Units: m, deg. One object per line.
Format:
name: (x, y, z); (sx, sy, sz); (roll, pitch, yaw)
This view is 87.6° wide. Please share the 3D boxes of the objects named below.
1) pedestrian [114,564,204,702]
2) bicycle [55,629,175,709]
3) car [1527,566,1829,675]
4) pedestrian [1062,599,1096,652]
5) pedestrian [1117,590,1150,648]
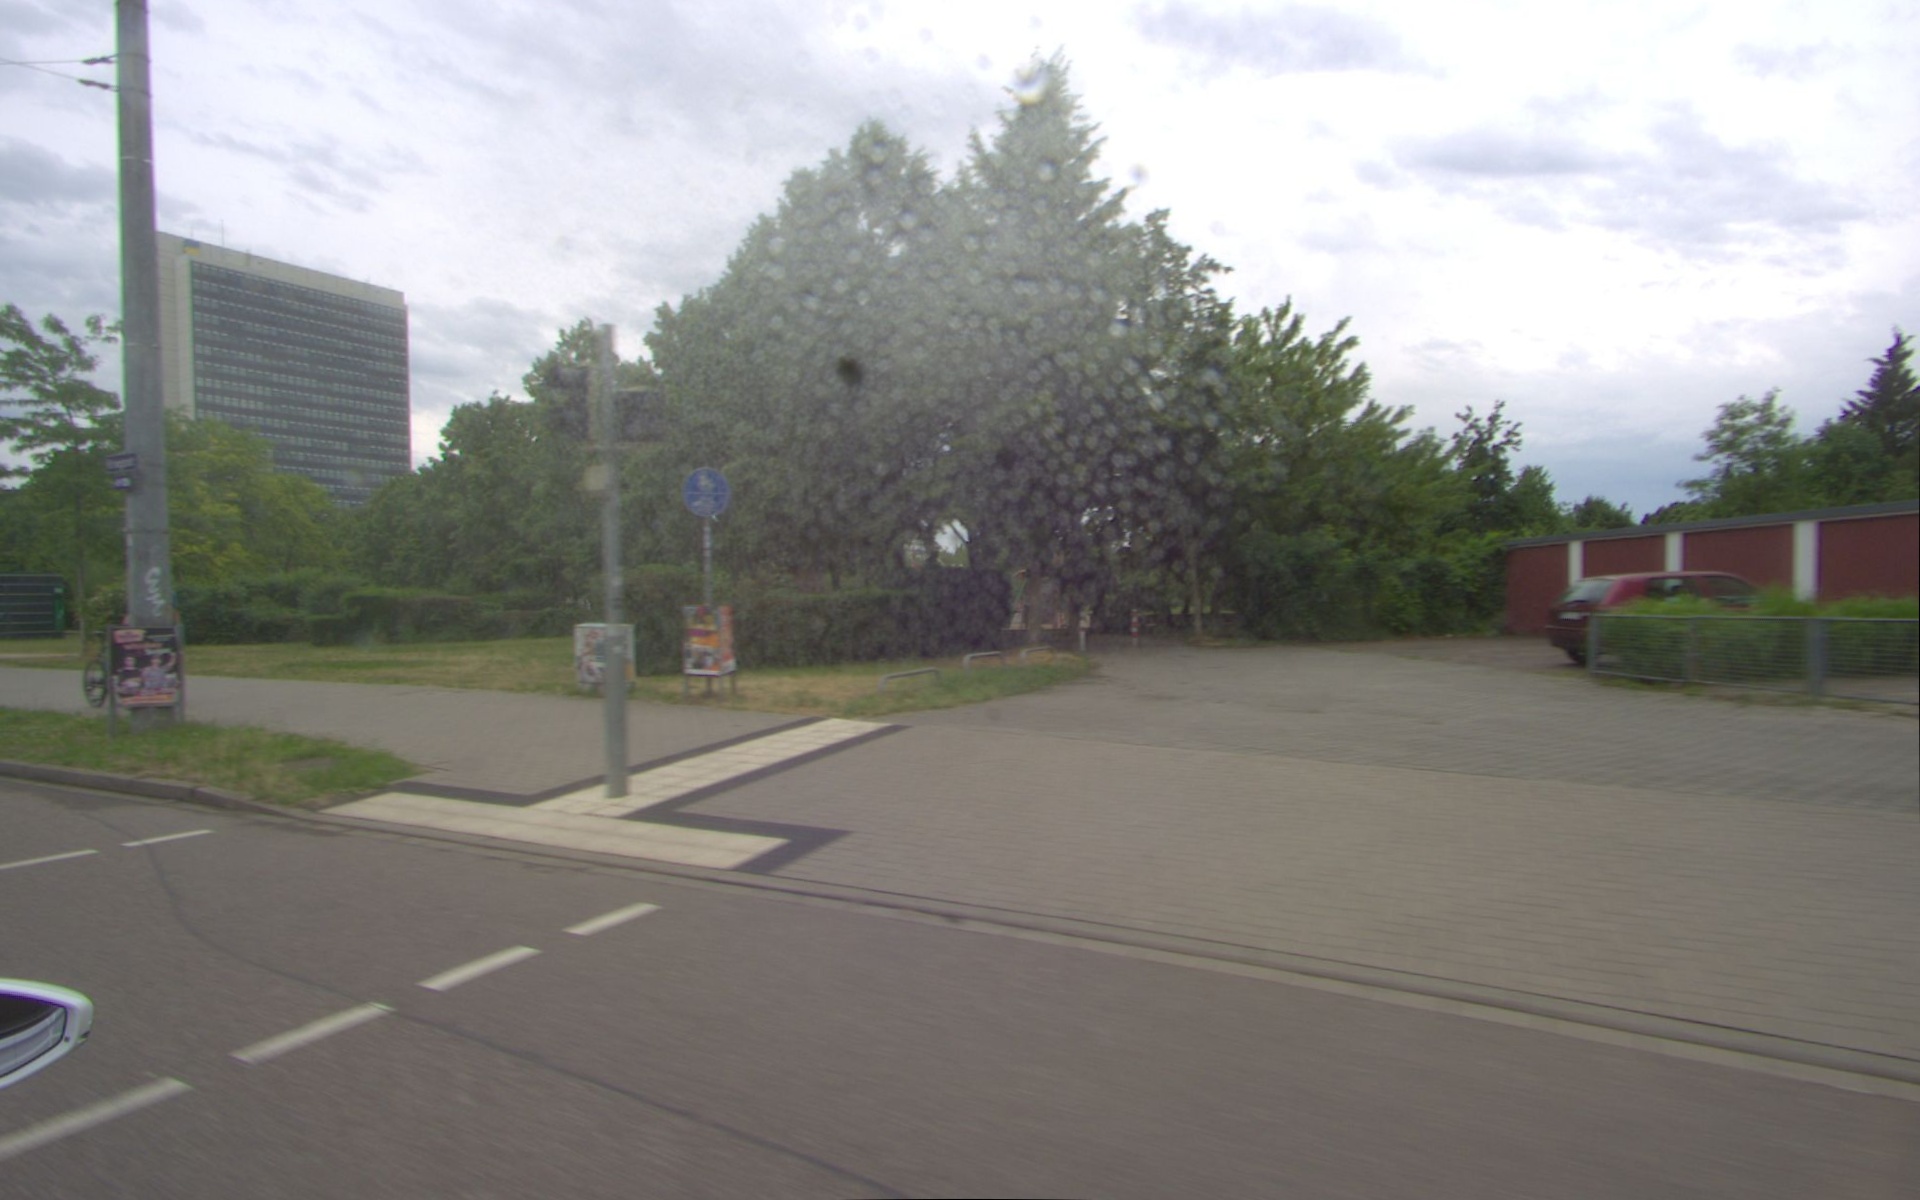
pedestrian: (-11.332, 0.451, 14.179); (0.671, 1.895, 0.739); (0, 2, 27)
bicycle: (-11.709, 0.925, 13.873); (1.751, 1.016, 0.653); (0, 1, 28)
car: (10.932, 0.285, 15.427); (3.418, 1.471, 1.691); (-2, 1, 1)
pedestrian: (2.758, 0.578, 23.232); (0.581, 1.199, 0.626); (-1, 1, -14)
pedestrian: (4.179, 0.451, 24.196); (0.581, 1.376, 0.626); (-1, 2, -14)
